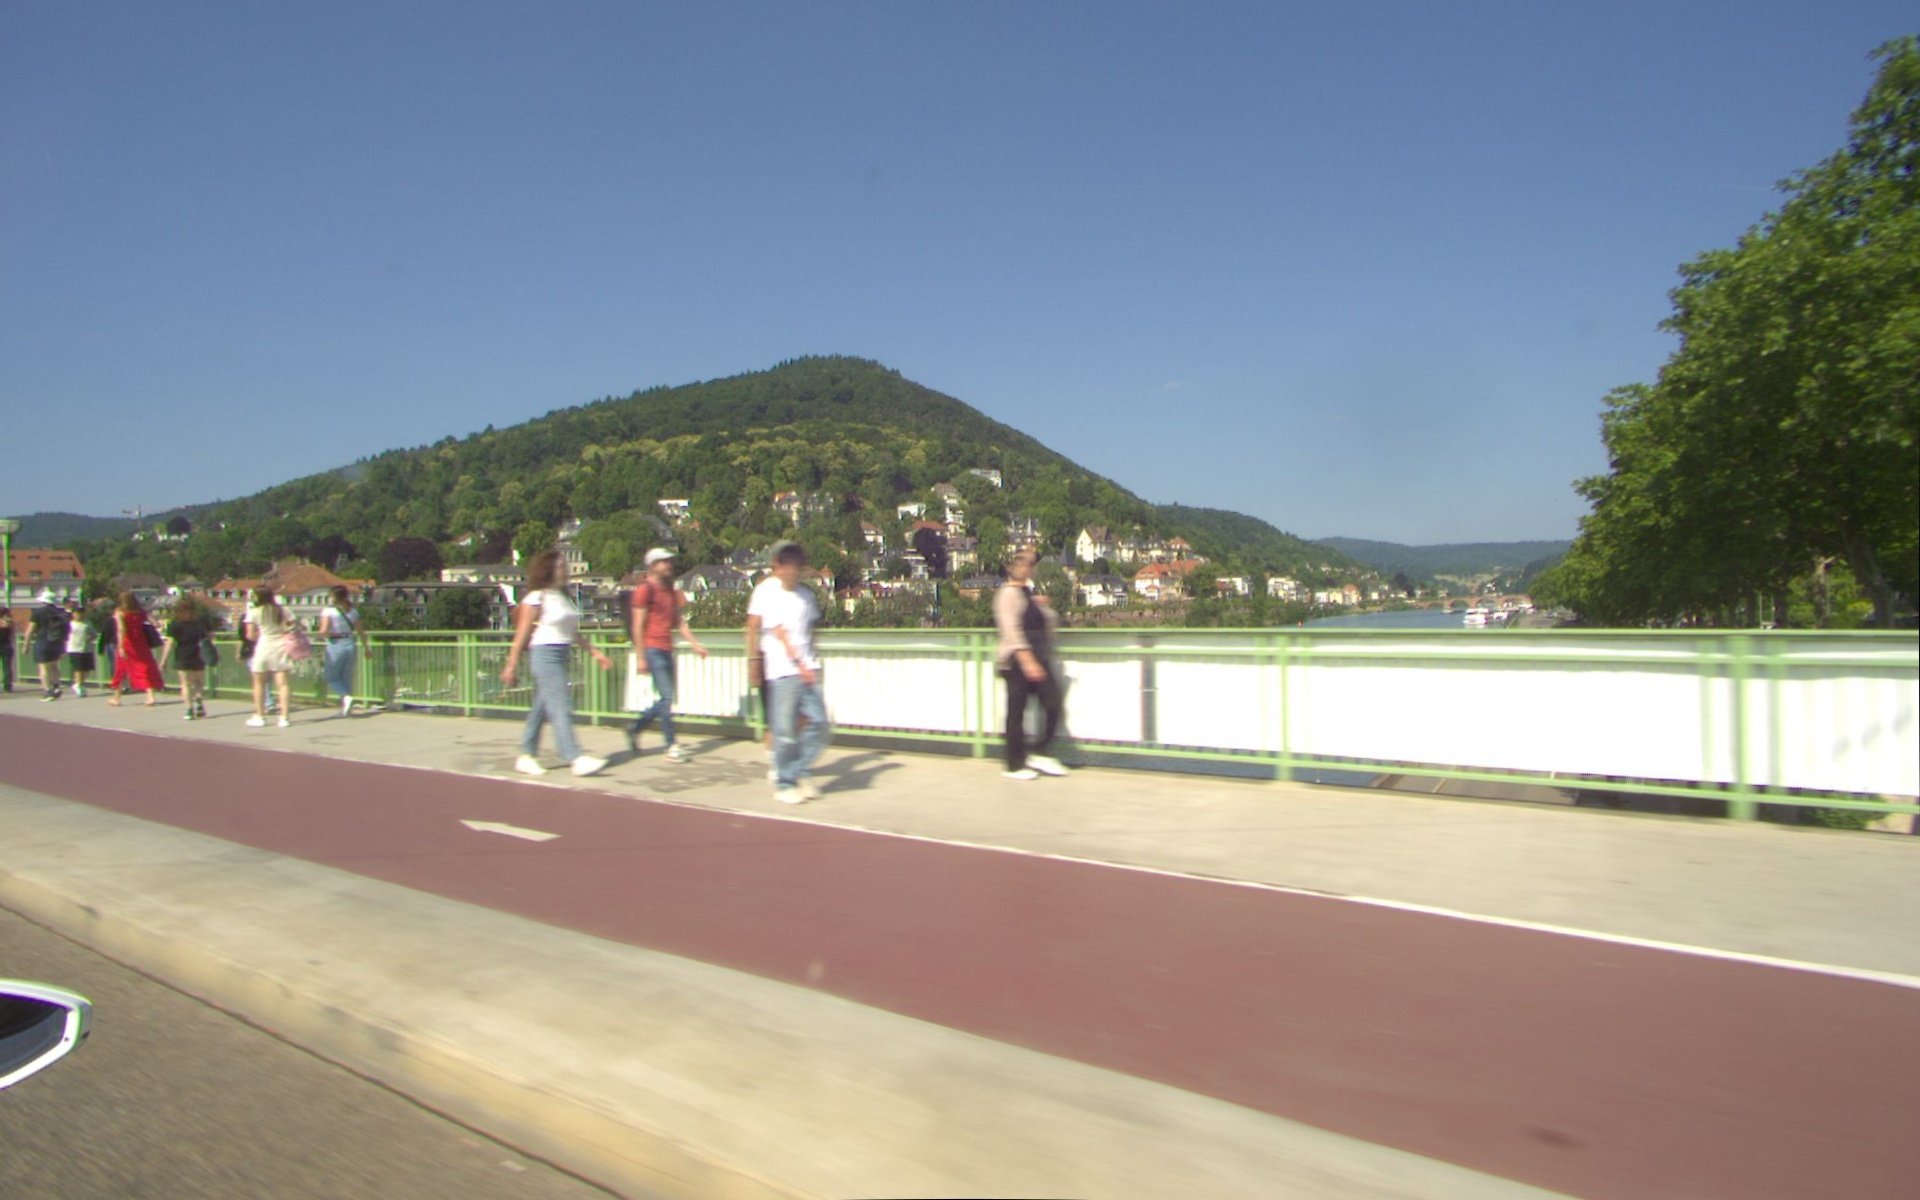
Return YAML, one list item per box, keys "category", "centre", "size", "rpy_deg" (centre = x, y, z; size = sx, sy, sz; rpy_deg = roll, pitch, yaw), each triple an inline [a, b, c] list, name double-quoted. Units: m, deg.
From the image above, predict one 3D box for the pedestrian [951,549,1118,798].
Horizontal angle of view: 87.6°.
- category: "pedestrian"
  centre: [0.549, 0.486, 7.241]
  size: [0.936, 1.657, 0.797]
  rpy_deg: [0, 1, 32]

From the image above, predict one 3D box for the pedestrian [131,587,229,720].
- category: "pedestrian"
  centre: [-10.251, 0.682, 13.166]
  size: [0.854, 1.672, 0.653]
  rpy_deg: [-1, 2, 27]

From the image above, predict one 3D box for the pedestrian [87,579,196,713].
- category: "pedestrian"
  centre: [-12.674, 0.683, 15.517]
  size: [0.925, 1.980, 1.013]
  rpy_deg: [-1, 1, 31]

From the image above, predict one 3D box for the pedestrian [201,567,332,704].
- category: "pedestrian"
  centre: [-9.589, 0.460, 13.858]
  size: [1.234, 1.794, 0.984]
  rpy_deg: [0, 2, 27]

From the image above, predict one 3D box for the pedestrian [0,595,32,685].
- category: "pedestrian"
  centre: [-18.144, 0.750, 19.025]
  size: [0.688, 1.671, 0.522]
  rpy_deg: [-1, 1, 27]

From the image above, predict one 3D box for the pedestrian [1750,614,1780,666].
- category: "pedestrian"
  centre: [28.492, 1.404, 35.453]
  size: [0.666, 1.799, 0.739]
  rpy_deg: [1, 1, 27]

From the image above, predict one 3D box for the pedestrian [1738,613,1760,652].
- category: "pedestrian"
  centre: [37.060, 1.504, 47.059]
  size: [0.666, 1.799, 0.739]
  rpy_deg: [1, 1, 27]

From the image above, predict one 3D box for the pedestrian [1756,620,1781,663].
- category: "pedestrian"
  centre: [34.587, 1.764, 42.862]
  size: [0.666, 1.799, 0.739]
  rpy_deg: [1, 1, 27]

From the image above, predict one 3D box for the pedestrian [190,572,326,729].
- category: "pedestrian"
  centre: [-8.371, 0.572, 11.958]
  size: [0.915, 1.773, 0.984]
  rpy_deg: [-1, 1, 27]

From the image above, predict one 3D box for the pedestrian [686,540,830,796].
- category: "pedestrian"
  centre: [-1.454, 0.467, 7.267]
  size: [0.720, 1.739, 0.695]
  rpy_deg: [-1, 1, 27]

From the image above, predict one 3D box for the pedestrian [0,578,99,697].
- category: "pedestrian"
  centre: [-15.460, 0.612, 16.902]
  size: [1.234, 1.920, 0.984]
  rpy_deg: [-1, 1, 27]

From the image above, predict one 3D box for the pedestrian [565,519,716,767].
- category: "pedestrian"
  centre: [-2.798, 0.359, 8.797]
  size: [0.939, 2.040, 0.802]
  rpy_deg: [-1, 1, 27]

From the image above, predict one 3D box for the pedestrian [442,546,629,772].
- category: "pedestrian"
  centre: [-3.329, 0.434, 7.908]
  size: [0.907, 1.637, 0.984]
  rpy_deg: [-1, 1, 27]

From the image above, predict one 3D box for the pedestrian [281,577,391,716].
- category: "pedestrian"
  centre: [-7.933, 0.572, 12.744]
  size: [0.872, 1.699, 0.833]
  rpy_deg: [-1, 1, 27]

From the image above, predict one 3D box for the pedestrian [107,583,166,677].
- category: "pedestrian"
  centre: [-14.808, 0.531, 18.010]
  size: [0.682, 1.653, 0.648]
  rpy_deg: [0, 0, 34]

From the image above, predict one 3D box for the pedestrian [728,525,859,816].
- category: "pedestrian"
  centre: [-1.101, 0.448, 6.668]
  size: [0.636, 1.823, 0.548]
  rpy_deg: [-1, 1, 27]

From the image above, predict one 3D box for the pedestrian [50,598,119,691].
- category: "pedestrian"
  centre: [-15.488, 0.771, 17.719]
  size: [0.681, 1.584, 0.649]
  rpy_deg: [1, 3, 26]
